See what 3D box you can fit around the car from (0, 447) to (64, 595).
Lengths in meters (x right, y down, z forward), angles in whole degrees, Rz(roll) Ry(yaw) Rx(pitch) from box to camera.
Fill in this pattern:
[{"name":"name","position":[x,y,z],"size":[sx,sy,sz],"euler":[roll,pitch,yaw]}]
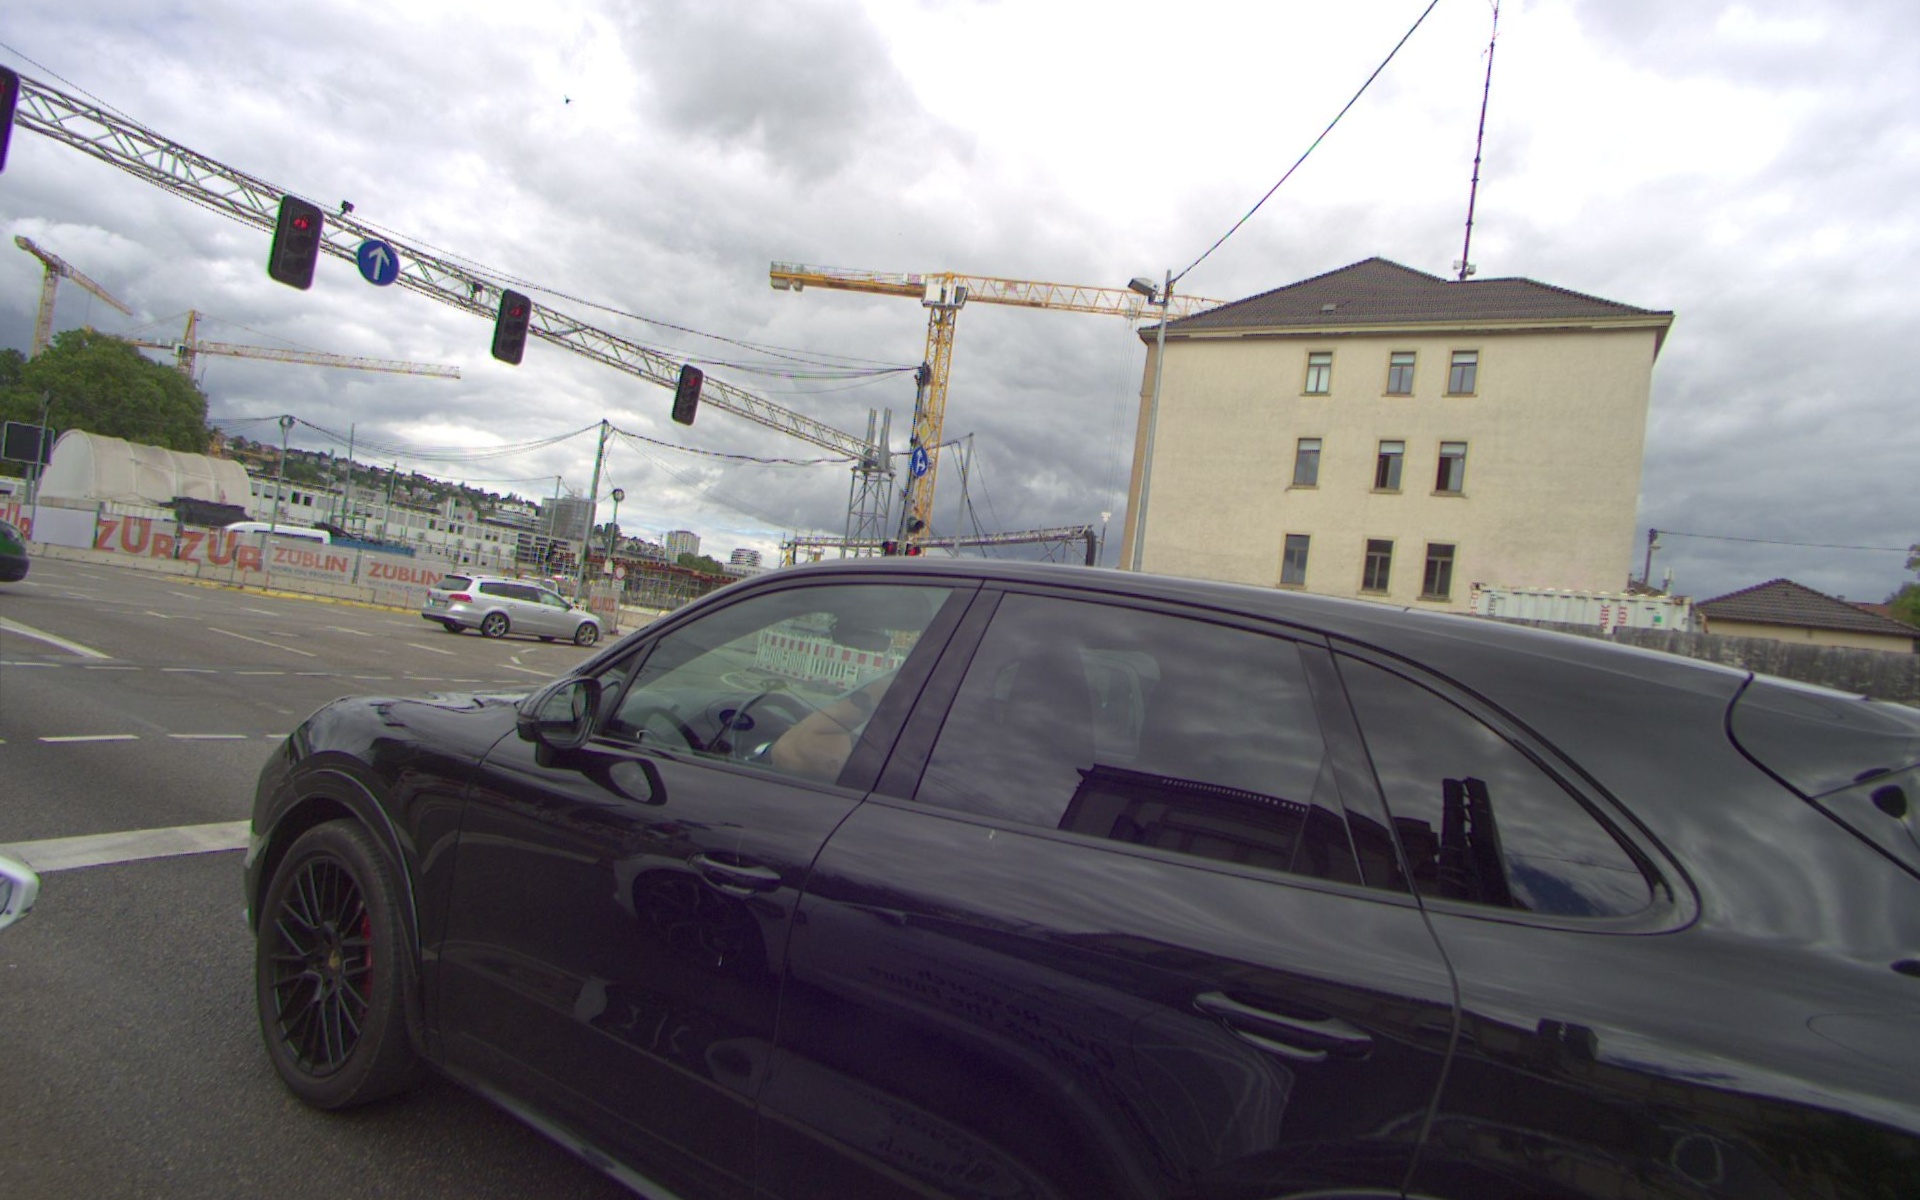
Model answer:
[{"name":"car","position":[-17.542,-1.623,14.912],"size":[2.263,2.331,5.776],"euler":[7,-2,27]}]

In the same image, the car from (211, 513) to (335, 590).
[{"name":"car","position":[-29.562,-2.048,43.365],"size":[1.660,2.692,3.979],"euler":[6,-2,45]}]

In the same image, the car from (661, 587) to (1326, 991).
[{"name":"car","position":[0.120,0.989,6.656],"size":[3.934,1.644,1.679],"euler":[6,-2,32]}]

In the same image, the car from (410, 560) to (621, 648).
[{"name":"car","position":[-11.143,0.168,25.617],"size":[1.653,1.643,4.721],"euler":[6,-2,31]}]

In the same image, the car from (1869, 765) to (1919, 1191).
[{"name":"car","position":[5.771,1.693,2.561],"size":[4.729,1.644,1.828],"euler":[6,-2,32]}]

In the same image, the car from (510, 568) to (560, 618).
[{"name":"car","position":[-19.152,-0.325,45.292],"size":[1.757,1.976,3.108],"euler":[8,-2,-25]}]

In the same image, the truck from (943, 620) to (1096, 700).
[{"name":"truck","position":[3.032,2.942,47.386],"size":[2.585,2.835,8.993],"euler":[7,-3,35]}]

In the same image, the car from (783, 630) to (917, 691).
[{"name":"car","position":[-3.782,2.186,35.579],"size":[1.988,1.643,4.816],"euler":[6,-2,33]}]

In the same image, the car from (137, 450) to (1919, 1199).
[{"name":"car","position":[-0.045,0.699,2.658],"size":[4.410,1.735,1.828],"euler":[6,-2,32]}]
